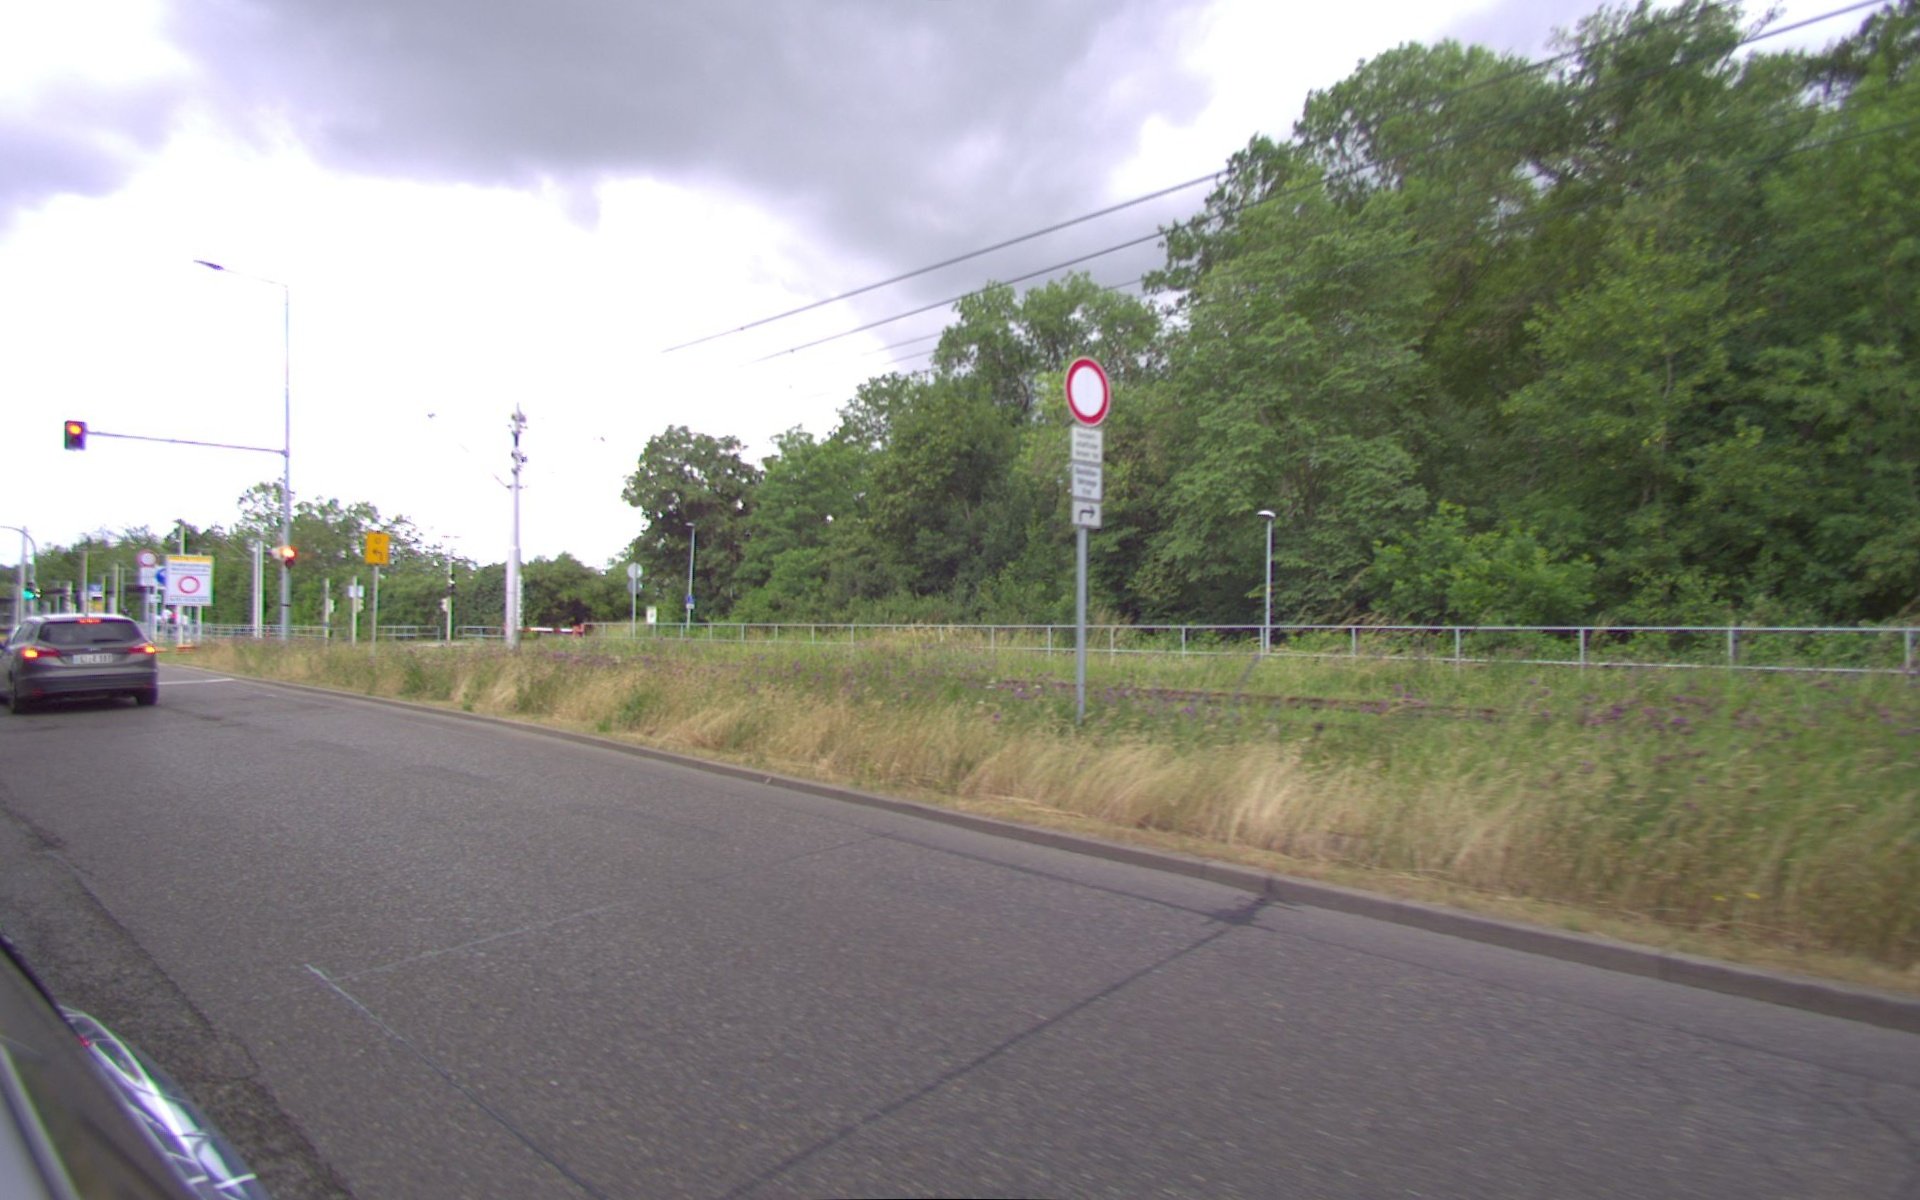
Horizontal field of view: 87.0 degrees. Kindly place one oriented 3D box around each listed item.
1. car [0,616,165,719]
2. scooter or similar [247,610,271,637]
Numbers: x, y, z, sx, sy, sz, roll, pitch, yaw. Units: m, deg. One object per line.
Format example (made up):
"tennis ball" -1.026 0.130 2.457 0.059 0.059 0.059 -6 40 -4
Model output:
"car" -14.539 0.997 16.419 4.425 1.445 1.737 -1 -1 40
"scooter or similar" -33.396 1.126 48.207 1.264 1.281 0.407 -1 -1 30
